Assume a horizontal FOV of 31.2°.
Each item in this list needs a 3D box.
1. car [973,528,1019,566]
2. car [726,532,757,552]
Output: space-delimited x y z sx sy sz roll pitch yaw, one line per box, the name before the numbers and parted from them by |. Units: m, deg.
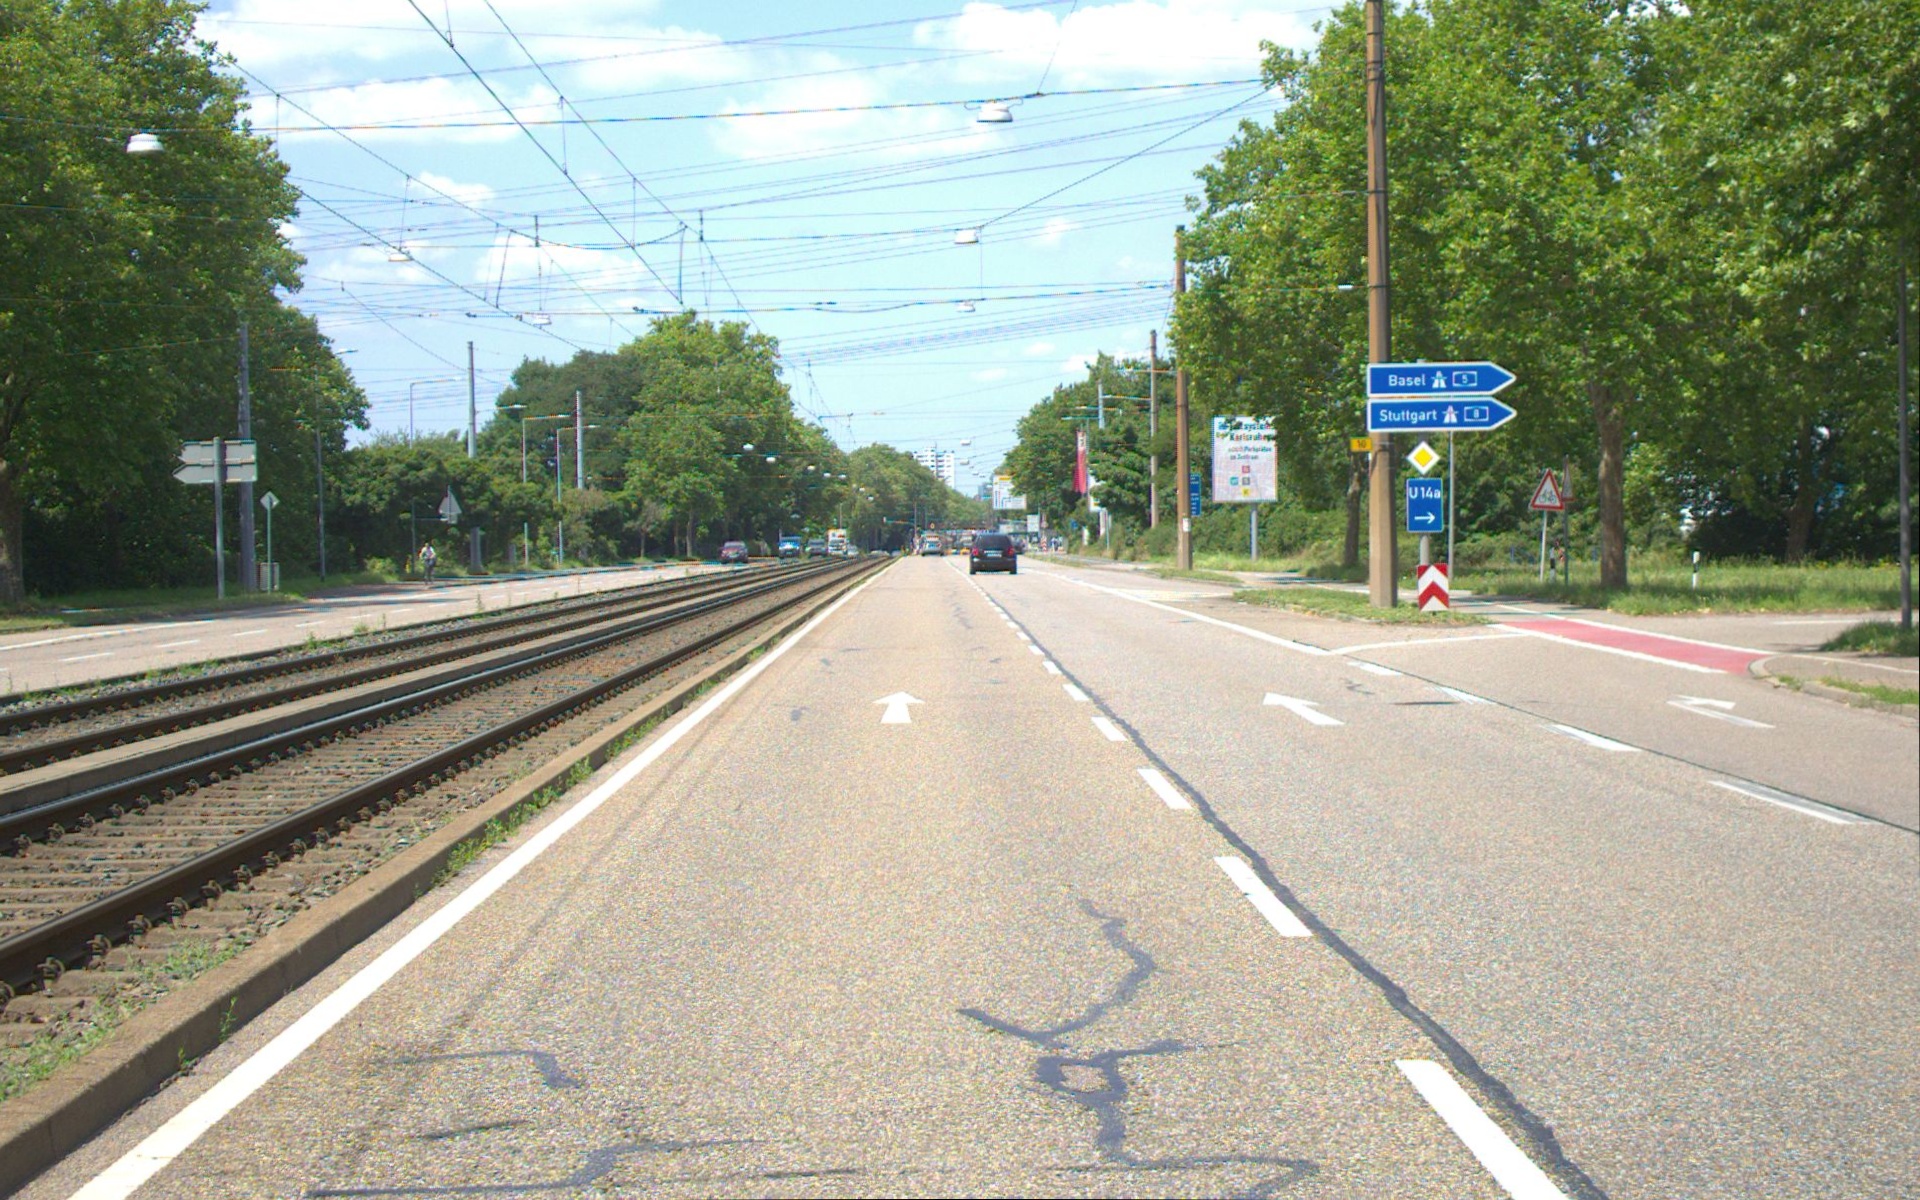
car | 1.367 -2.013 130.536 1.586 1.338 3.273 -1 2 -2
car | -15.222 -4.058 240.116 1.875 1.327 3.918 -2 1 0
